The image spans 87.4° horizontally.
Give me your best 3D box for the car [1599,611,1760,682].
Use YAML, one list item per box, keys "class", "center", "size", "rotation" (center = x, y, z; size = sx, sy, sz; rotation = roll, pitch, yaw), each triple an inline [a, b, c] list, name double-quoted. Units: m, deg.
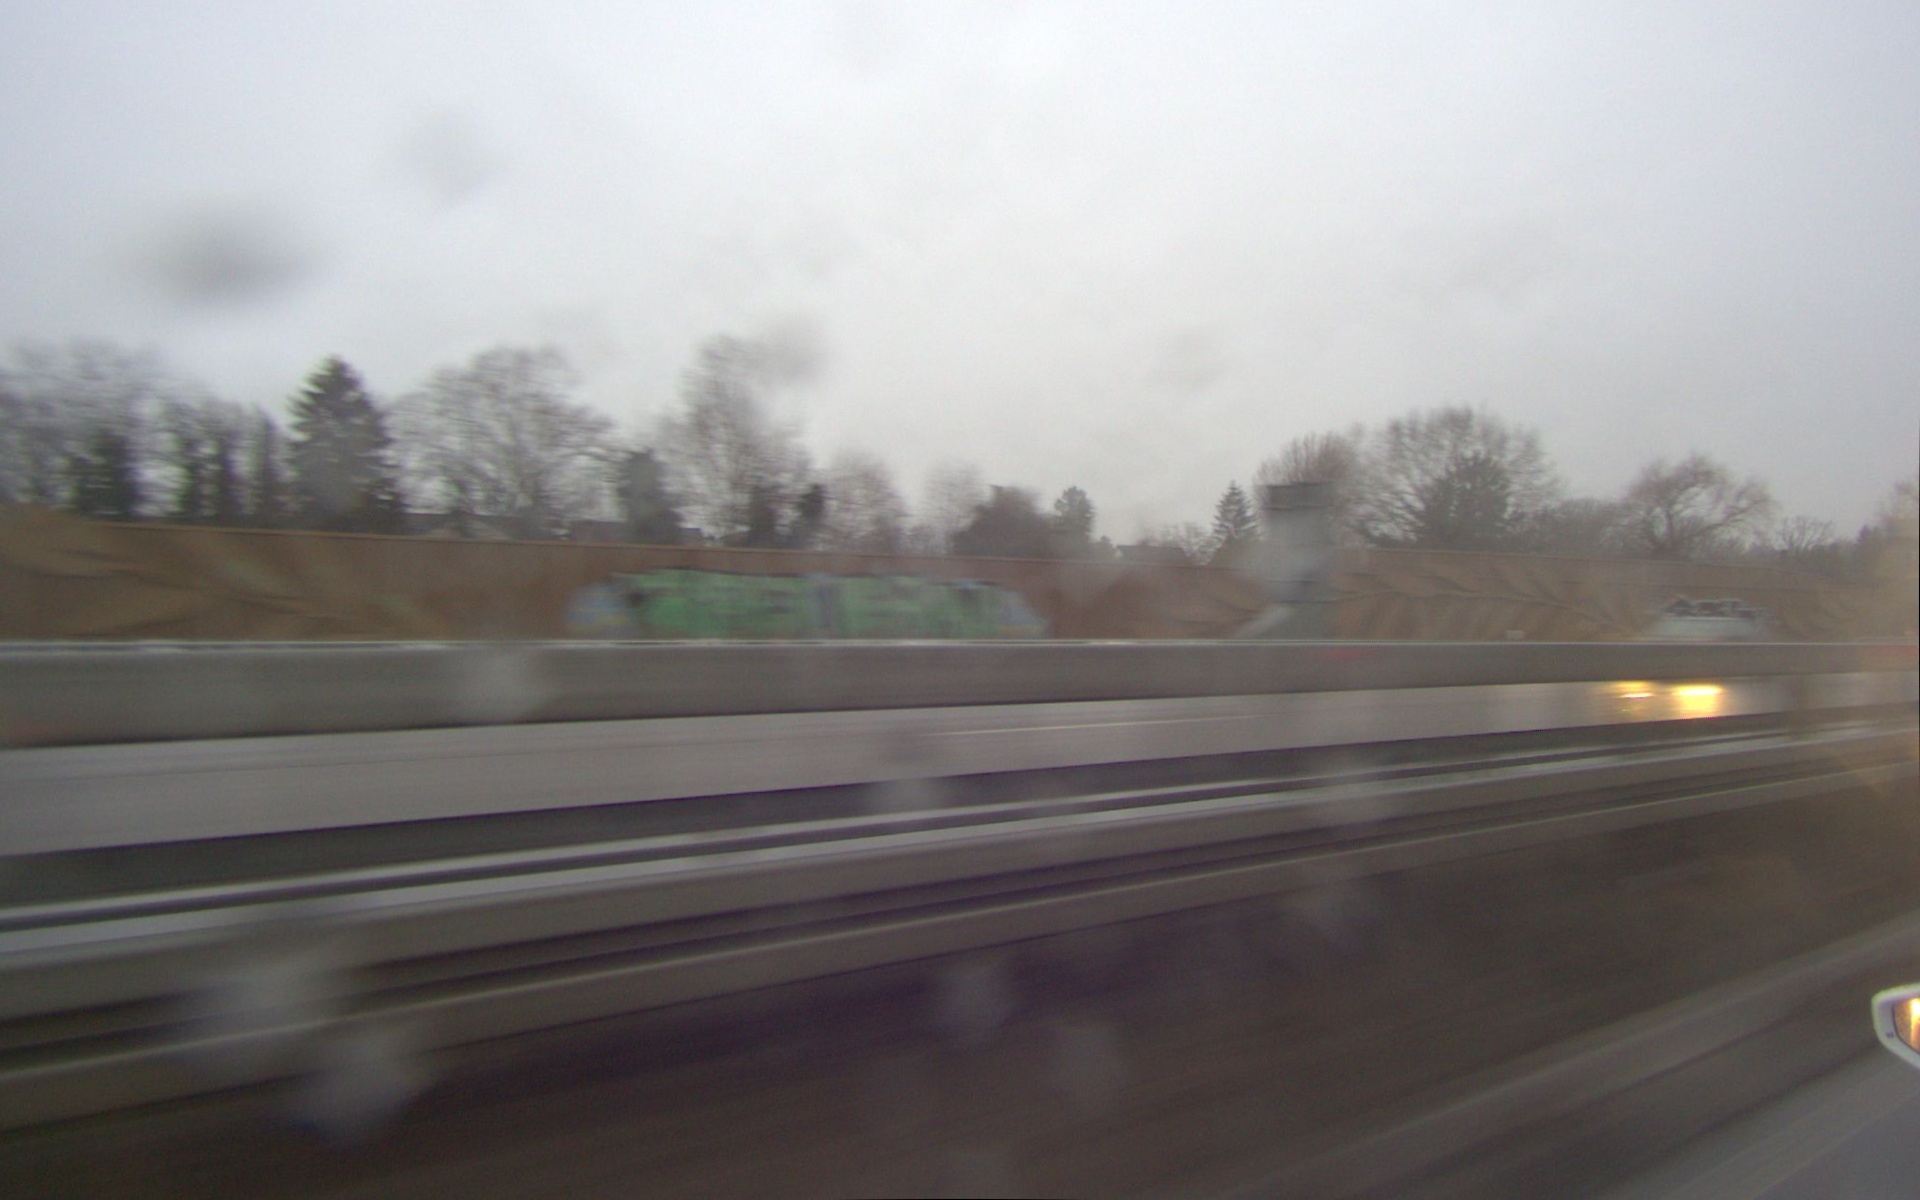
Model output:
- class: "car"
  center: [16.284, 1.025, 22.713]
  size: [3.640, 1.460, 1.688]
  rotation: [1, 0, -32]
